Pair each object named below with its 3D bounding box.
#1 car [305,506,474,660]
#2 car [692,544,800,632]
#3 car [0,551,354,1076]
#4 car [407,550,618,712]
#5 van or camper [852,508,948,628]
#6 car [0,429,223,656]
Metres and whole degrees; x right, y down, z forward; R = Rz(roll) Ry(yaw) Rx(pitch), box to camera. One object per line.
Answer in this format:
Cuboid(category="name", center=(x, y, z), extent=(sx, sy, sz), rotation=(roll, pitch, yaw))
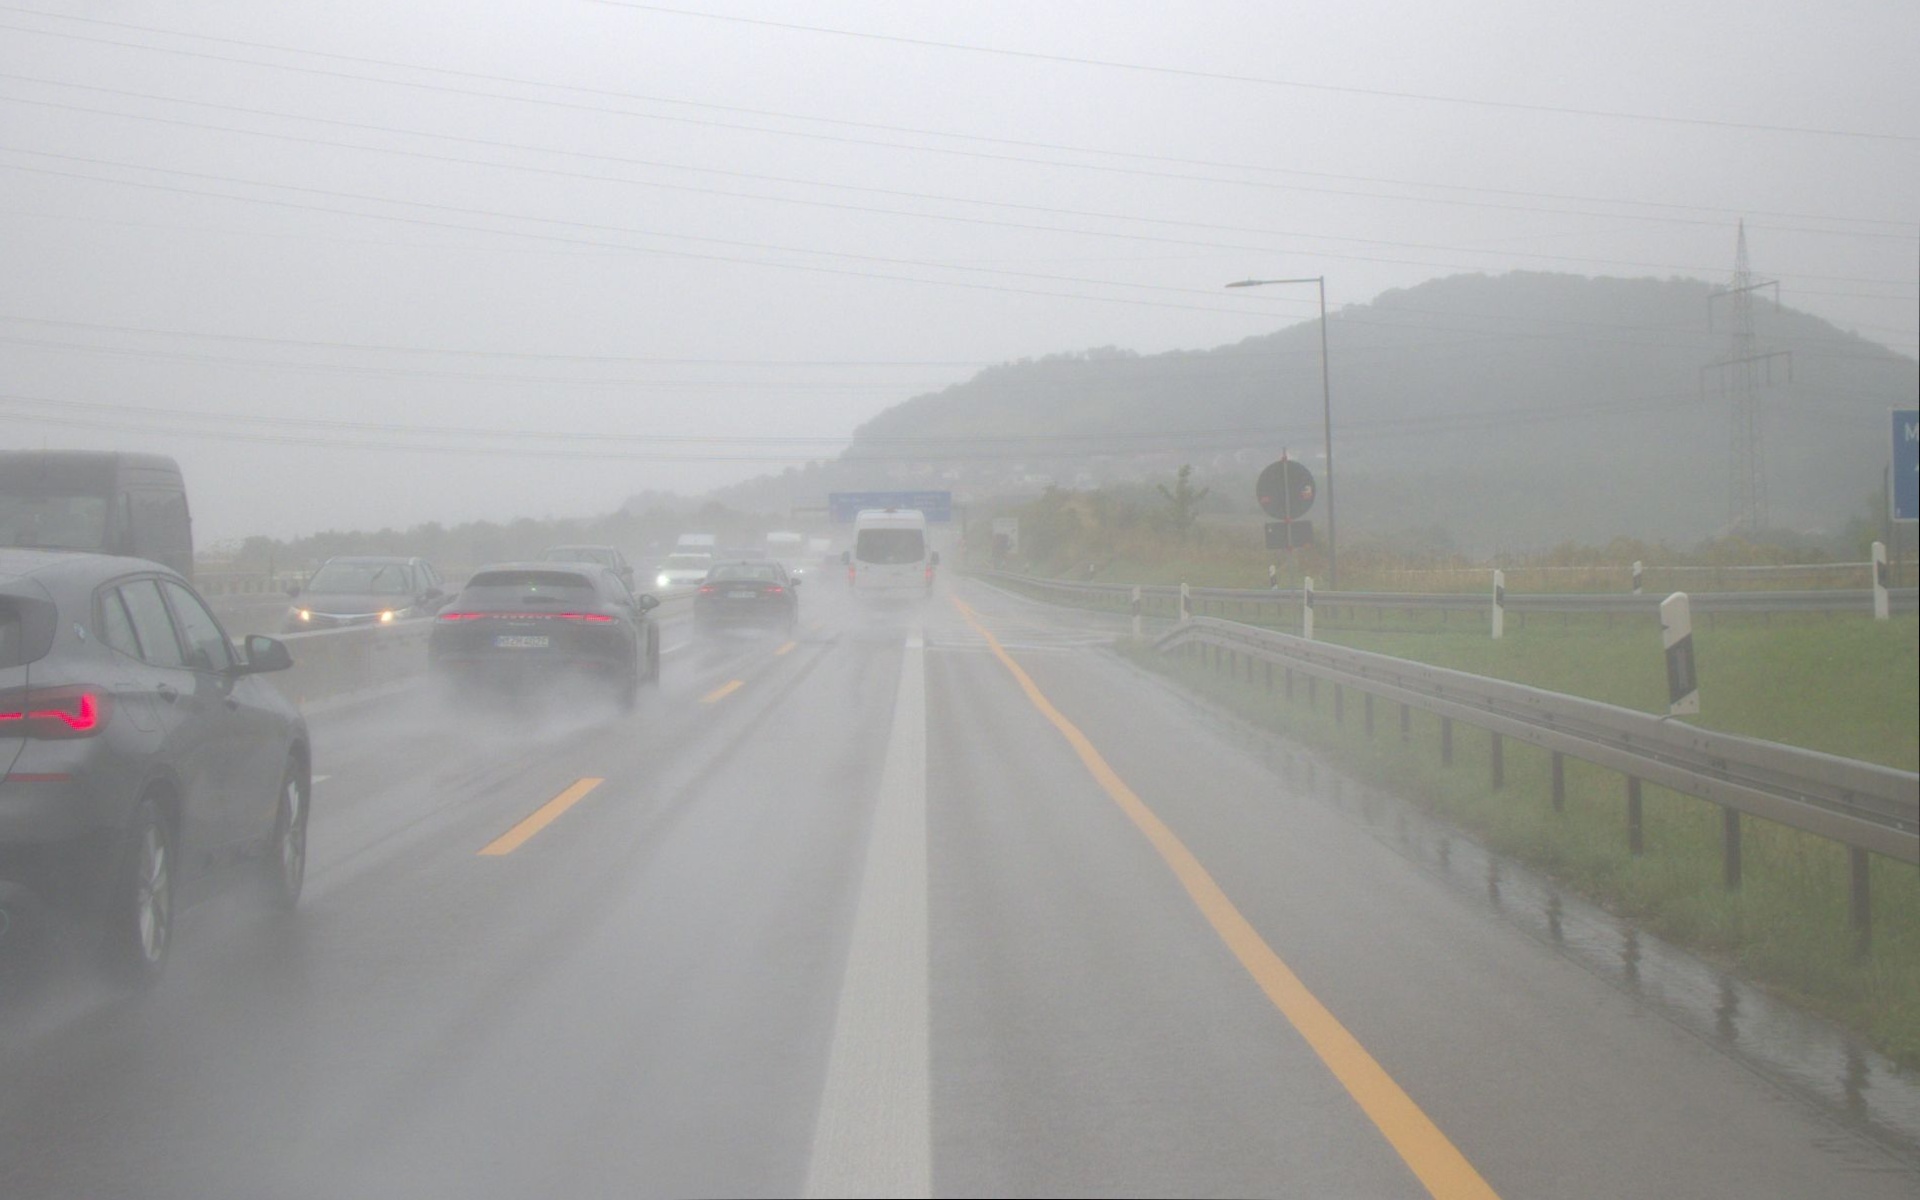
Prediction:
Cuboid(category="car", center=(-7.933, -0.280, 48.107), extent=(1.835, 2.006, 4.001), rotation=(1, 2, -2))
Cuboid(category="car", center=(-3.929, -0.244, 62.964), extent=(1.844, 1.486, 4.262), rotation=(-2, 1, -4))
Cuboid(category="car", center=(-3.531, 0.667, 12.872), extent=(1.701, 1.592, 4.845), rotation=(0, -1, -1))
Cuboid(category="car", center=(-4.341, 0.308, 33.869), extent=(1.844, 1.486, 4.262), rotation=(1, -1, -5))
Cuboid(category="van or camper", center=(-1.458, -0.720, 81.463), extent=(1.996, 2.768, 4.050), rotation=(1, -1, -5))
Cuboid(category="car", center=(-10.661, -0.668, 41.373), extent=(2.070, 2.509, 6.175), rotation=(-1, 1, 2))
